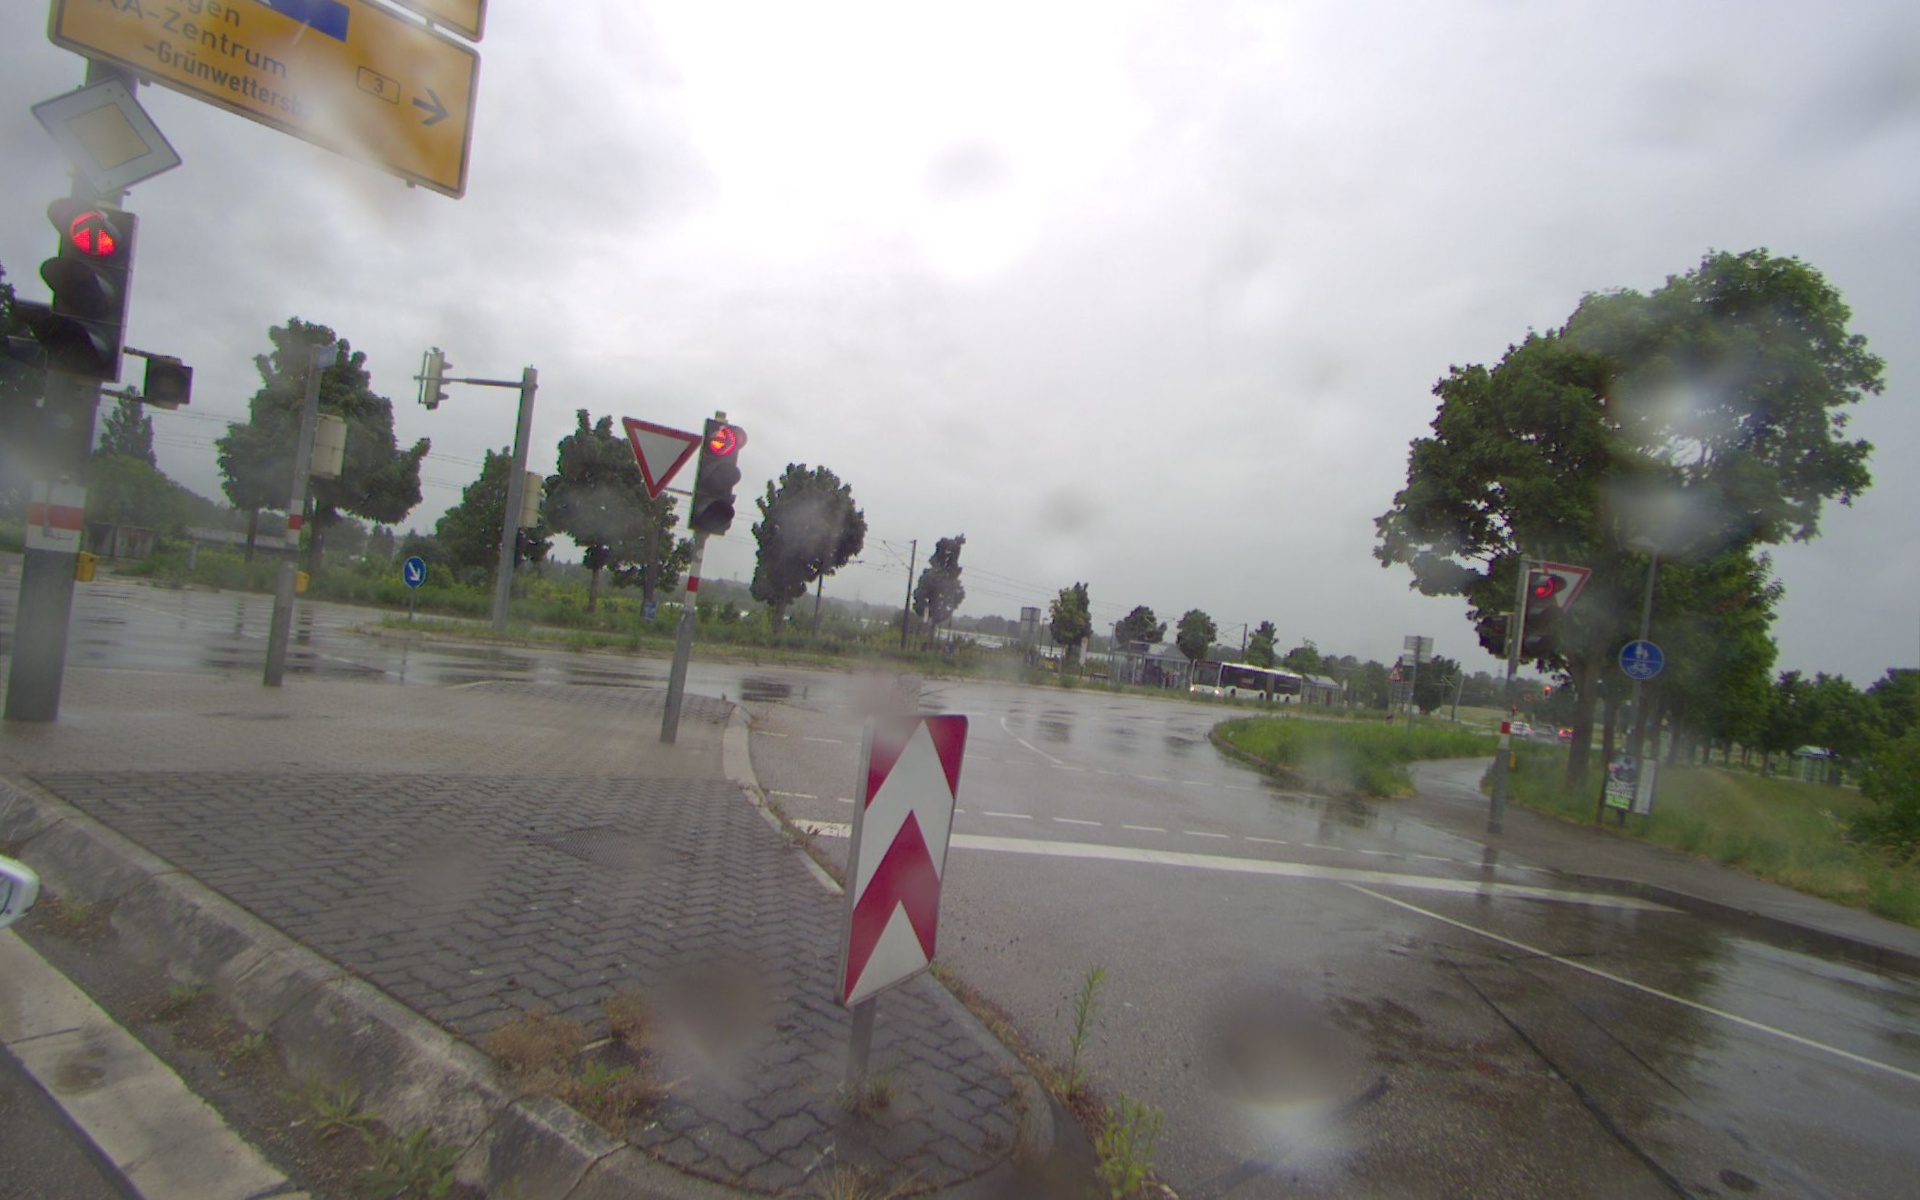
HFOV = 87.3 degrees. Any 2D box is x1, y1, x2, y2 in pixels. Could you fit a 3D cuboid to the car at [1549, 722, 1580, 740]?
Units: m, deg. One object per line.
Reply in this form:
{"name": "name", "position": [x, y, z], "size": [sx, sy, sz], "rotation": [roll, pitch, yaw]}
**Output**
{"name": "car", "position": [58.035, 12.568, 96.579], "size": [1.853, 1.370, 4.036], "rotation": [6, -2, 40]}

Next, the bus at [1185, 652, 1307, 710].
{"name": "bus", "position": [24.354, 6.992, 84.342], "size": [2.715, 3.828, 18.378], "rotation": [7, -2, 38]}

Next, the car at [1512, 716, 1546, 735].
{"name": "car", "position": [50.224, 11.056, 88.783], "size": [1.853, 1.370, 4.036], "rotation": [6, -2, 40]}
